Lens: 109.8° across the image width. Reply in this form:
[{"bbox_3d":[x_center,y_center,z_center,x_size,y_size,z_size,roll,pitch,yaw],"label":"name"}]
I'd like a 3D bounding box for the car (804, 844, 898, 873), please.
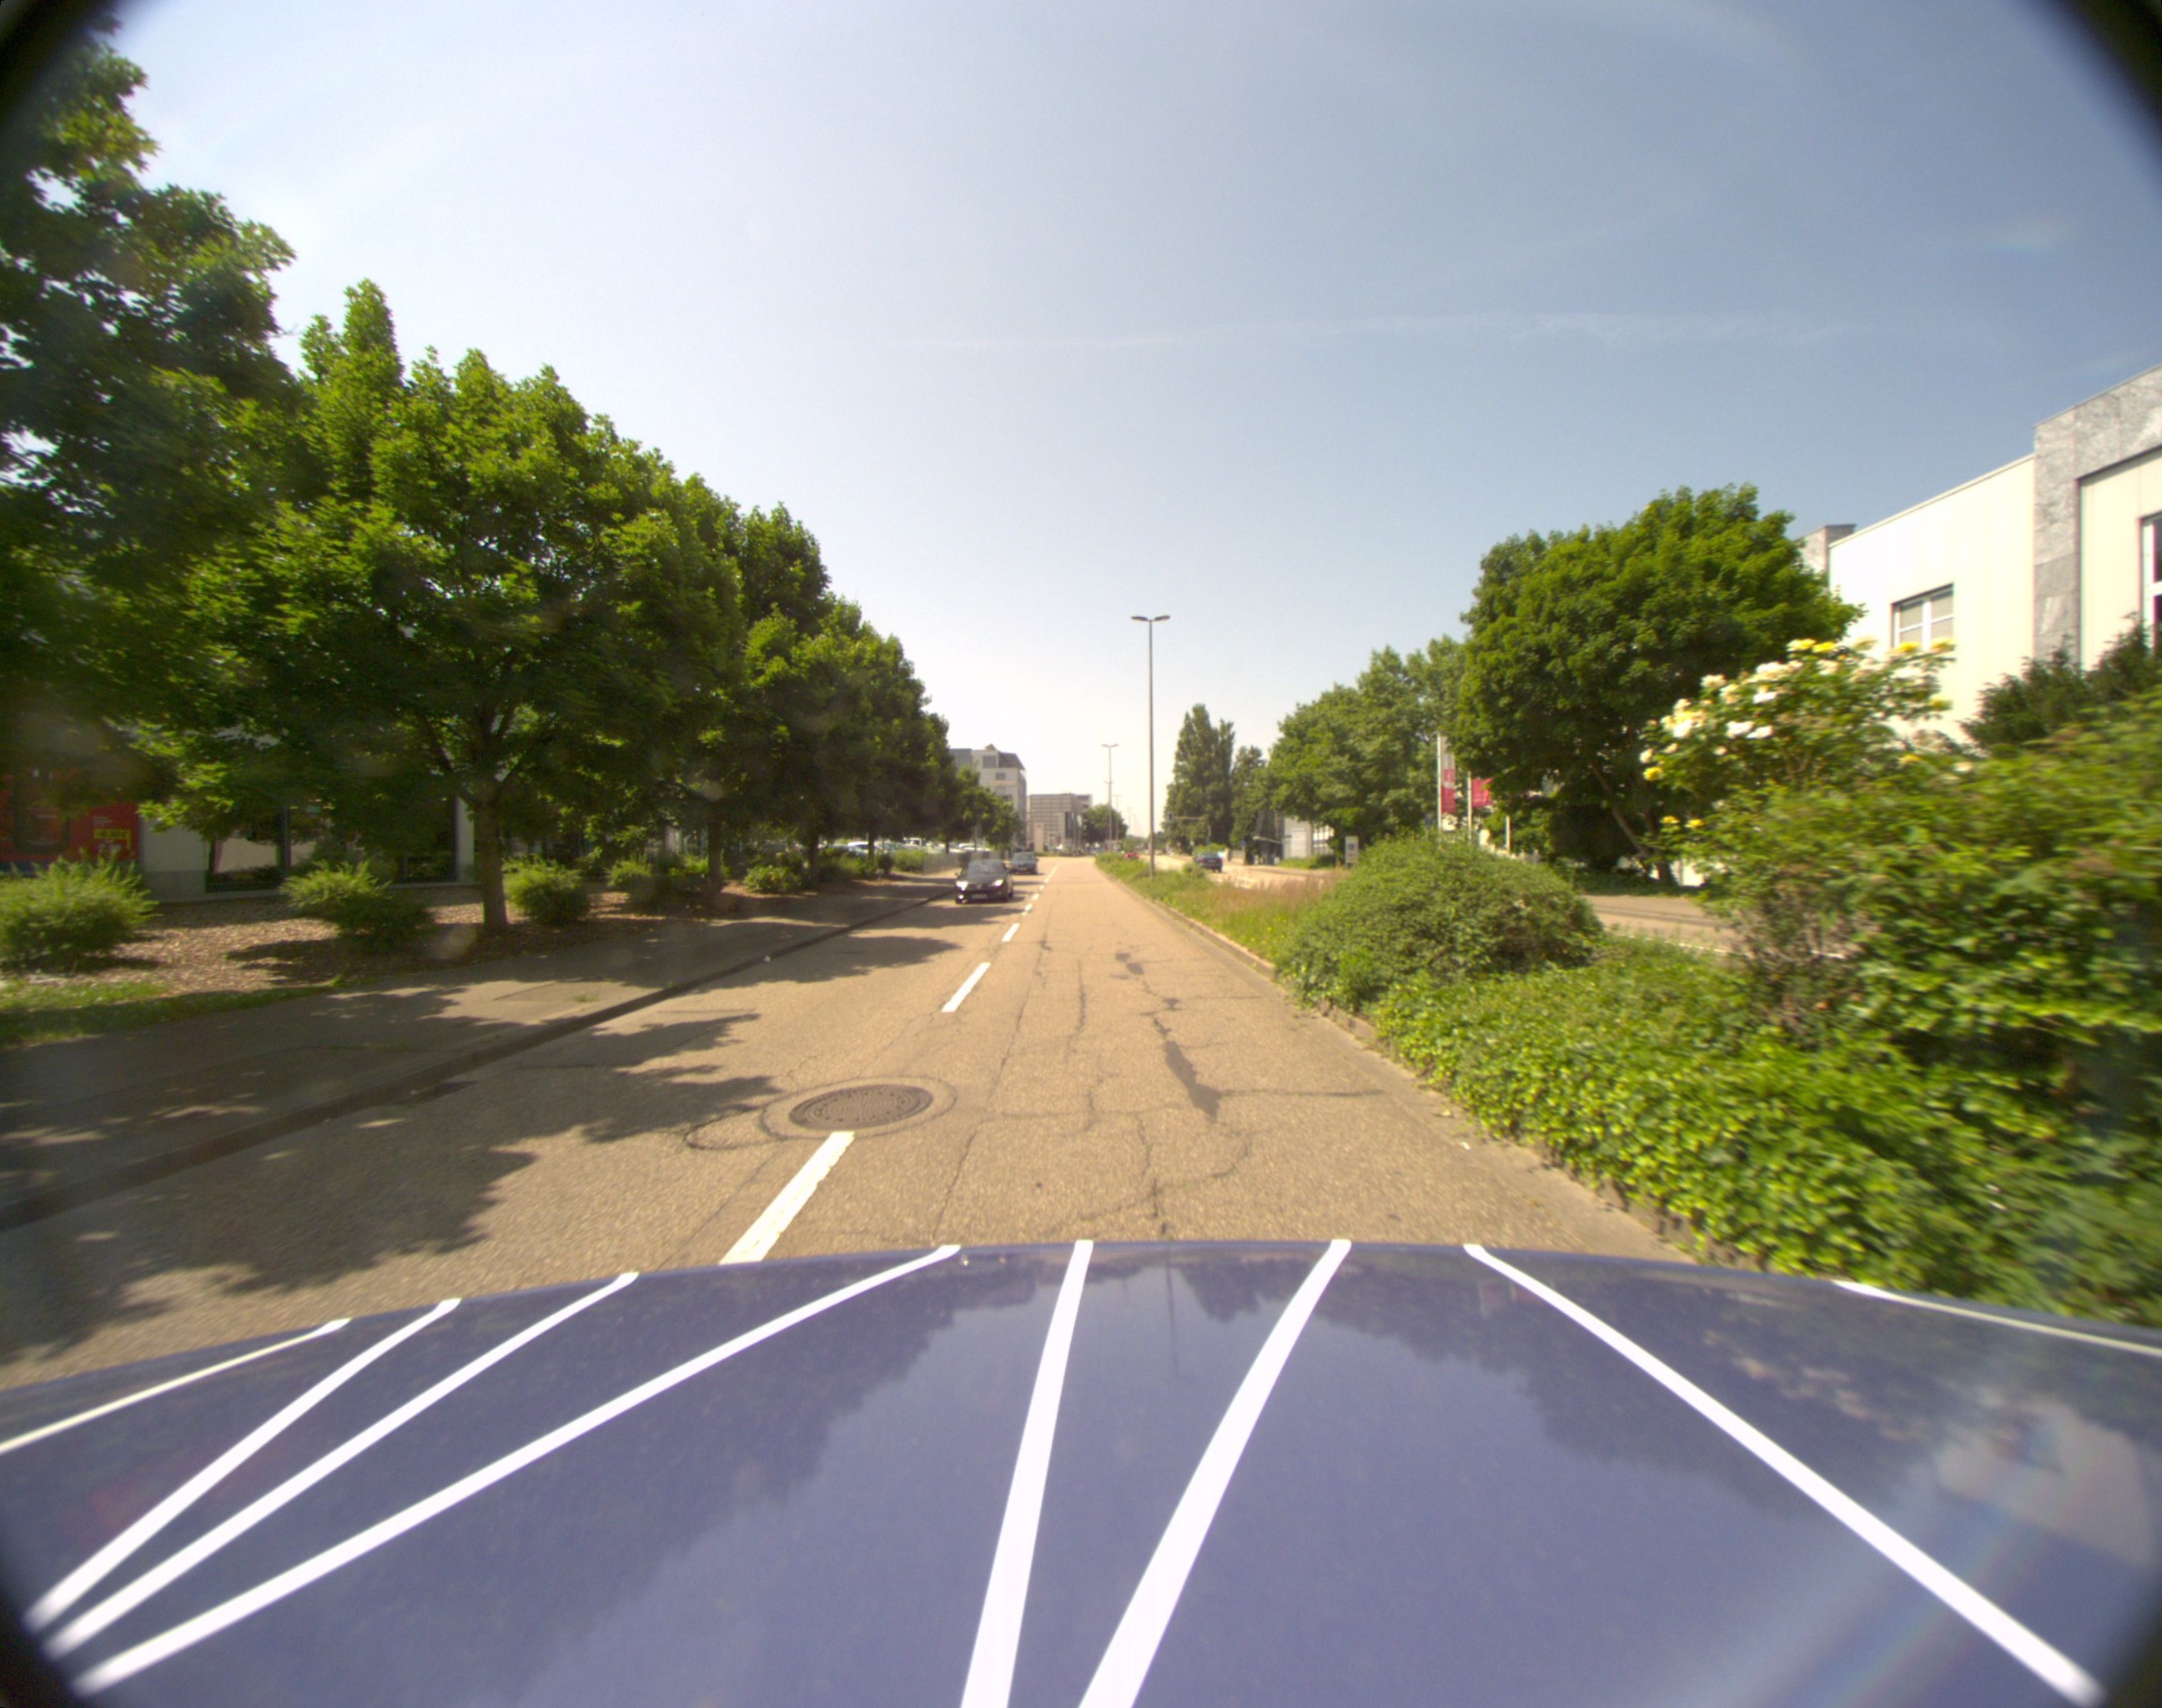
[{"bbox_3d":[-13.745,0.236,45.572,5.004,1.587,2.022,2,1,-1],"label":"car"}]

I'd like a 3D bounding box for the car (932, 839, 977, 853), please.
[{"bbox_3d":[-12.784,-0.784,77.015,4.179,1.413,1.698,0,1,3],"label":"car"}]

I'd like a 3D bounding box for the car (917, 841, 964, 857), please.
[{"bbox_3d":[-13.152,-0.484,71.184,4.006,1.413,1.698,0,1,1],"label":"car"}]

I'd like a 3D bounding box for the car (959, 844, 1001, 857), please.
[{"bbox_3d":[-11.742,-0.411,88.636,4.588,1.496,1.697,0,1,0],"label":"car"}]

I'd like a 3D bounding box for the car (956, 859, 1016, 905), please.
[{"bbox_3d":[-3.067,0.878,25.166,1.641,1.349,3.498,-1,1,-2],"label":"car"}]

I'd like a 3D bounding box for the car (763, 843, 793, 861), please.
[{"bbox_3d":[-26.250,-0.182,65.957,1.268,1.412,3.252,2,1,0],"label":"car"}]

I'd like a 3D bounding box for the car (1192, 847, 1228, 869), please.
[{"bbox_3d":[8.885,0.274,52.620,1.726,1.408,4.246,2,0,0],"label":"car"}]

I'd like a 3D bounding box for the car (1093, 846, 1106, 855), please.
[{"bbox_3d":[2.935,-0.523,119.954,1.867,1.390,4.000,1,0,2],"label":"car"}]

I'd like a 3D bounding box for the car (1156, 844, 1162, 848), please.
[{"bbox_3d":[26.719,-2.782,261.257,1.898,1.551,4.287,2,1,3],"label":"car"}]

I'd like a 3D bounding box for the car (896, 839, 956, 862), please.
[{"bbox_3d":[-13.036,-0.285,64.038,4.628,1.913,1.827,0,1,1],"label":"car"}]

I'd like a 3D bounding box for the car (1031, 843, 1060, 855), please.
[{"bbox_3d":[-6.216,-0.837,132.320,4.704,1.787,2.184,-2,0,5],"label":"car"}]

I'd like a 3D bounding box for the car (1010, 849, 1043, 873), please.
[{"bbox_3d":[-3.383,0.440,47.972,1.711,1.316,3.954,2,1,0],"label":"car"}]

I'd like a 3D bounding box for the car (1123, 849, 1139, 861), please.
[{"bbox_3d":[5.920,0.062,90.509,1.733,1.316,4.149,1,1,1],"label":"car"}]

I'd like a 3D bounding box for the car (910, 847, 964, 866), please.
[{"bbox_3d":[-12.638,0.203,66.789,4.377,1.583,1.827,0,1,1],"label":"car"}]

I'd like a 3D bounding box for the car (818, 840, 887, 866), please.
[{"bbox_3d":[-15.156,-0.085,50.601,3.998,1.587,1.826,-2,1,-3],"label":"car"}]
